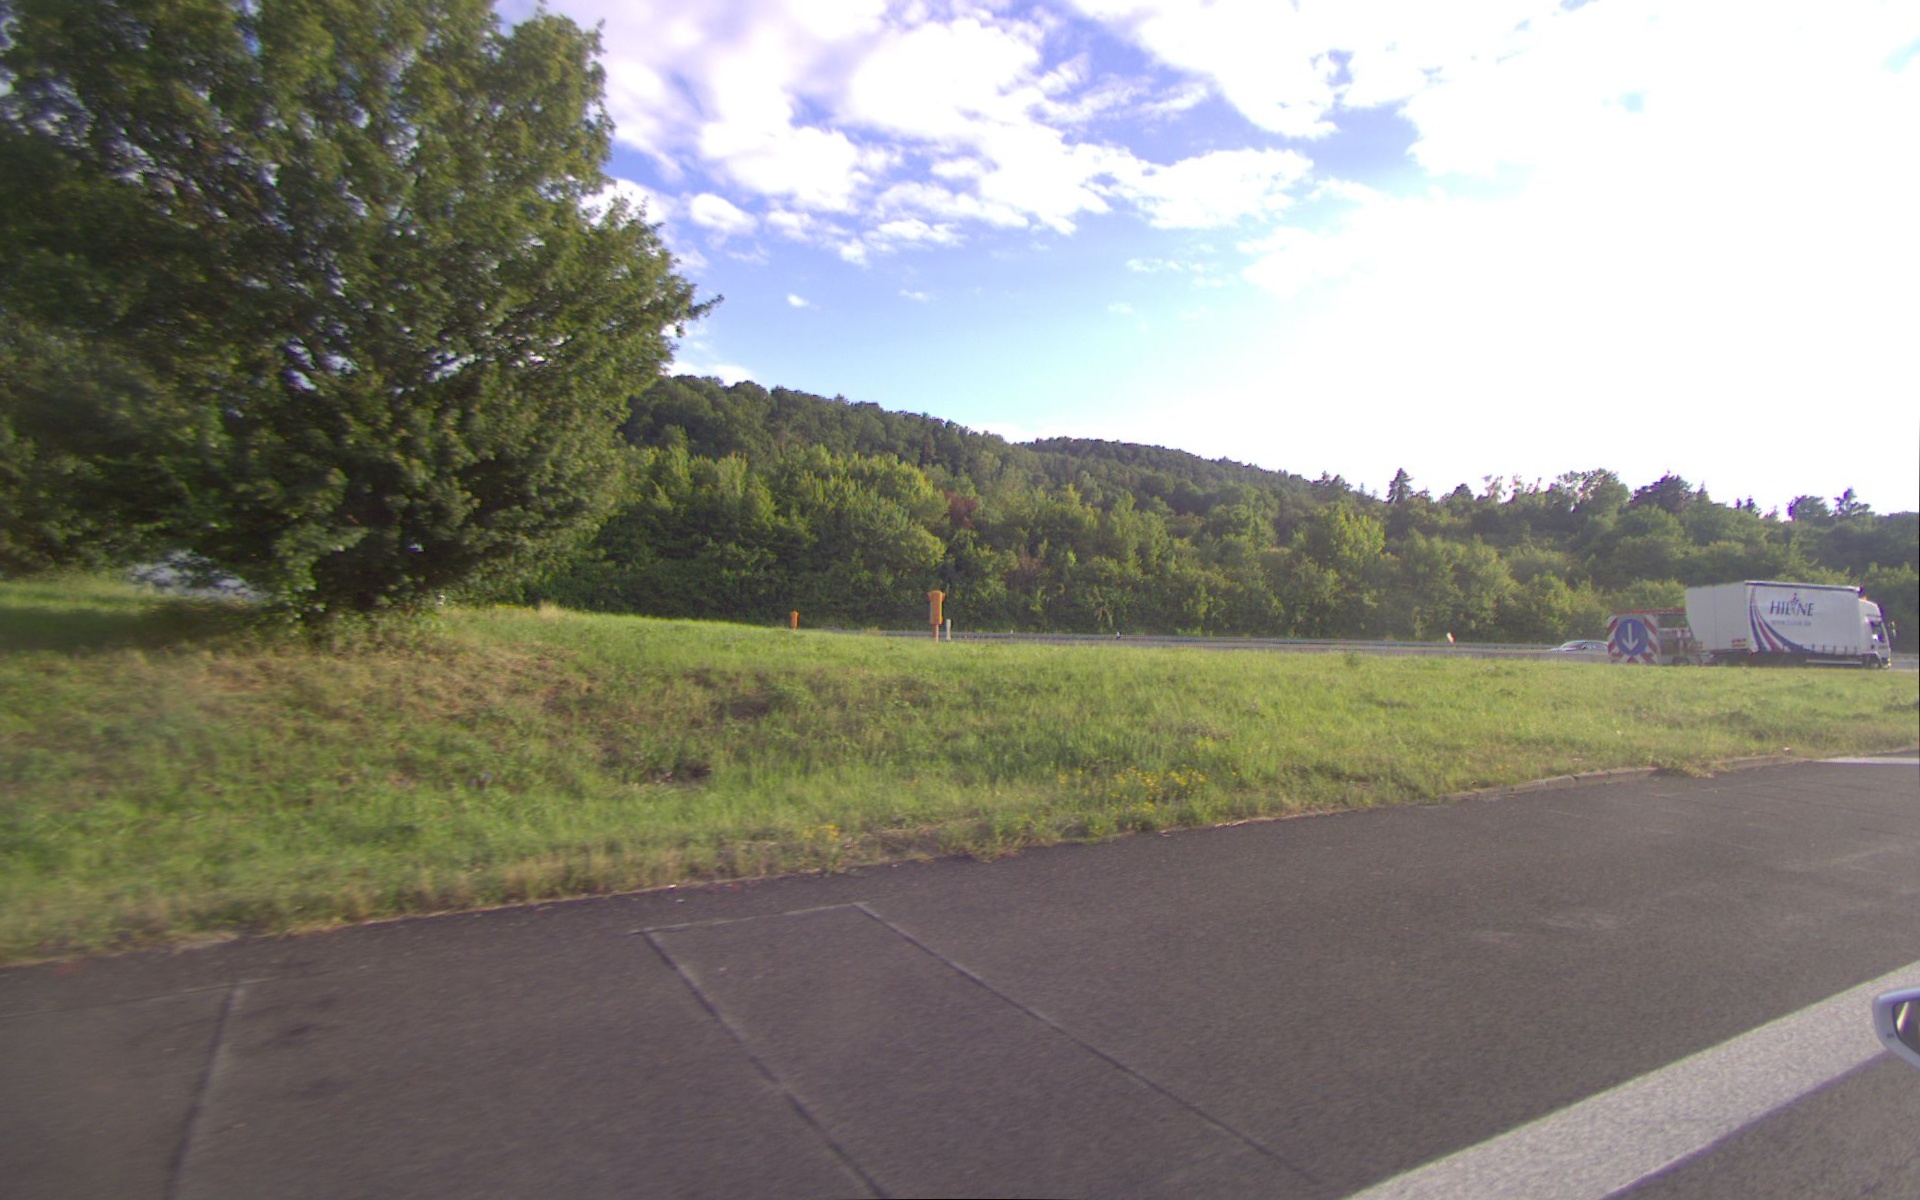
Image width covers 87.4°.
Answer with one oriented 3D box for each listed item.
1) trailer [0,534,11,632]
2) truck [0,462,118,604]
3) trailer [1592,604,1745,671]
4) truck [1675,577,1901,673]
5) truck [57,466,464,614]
[{"bbox_3d":[-44.556,-0.874,37.845,12.758,3.939,2.944,2,-1,-15],"label":"trailer"},{"bbox_3d":[-30.401,-1.988,29.056,8.734,3.957,2.769,2,-1,-16],"label":"truck"},{"bbox_3d":[29.382,1.548,41.709,4.739,2.612,2.919,2,-1,-17],"label":"trailer"},{"bbox_3d":[36.163,1.158,43.873,9.510,3.839,2.919,2,-1,-18],"label":"truck"},{"bbox_3d":[-21.447,-1.702,31.582,9.986,3.999,2.769,2,-1,-16],"label":"truck"}]
